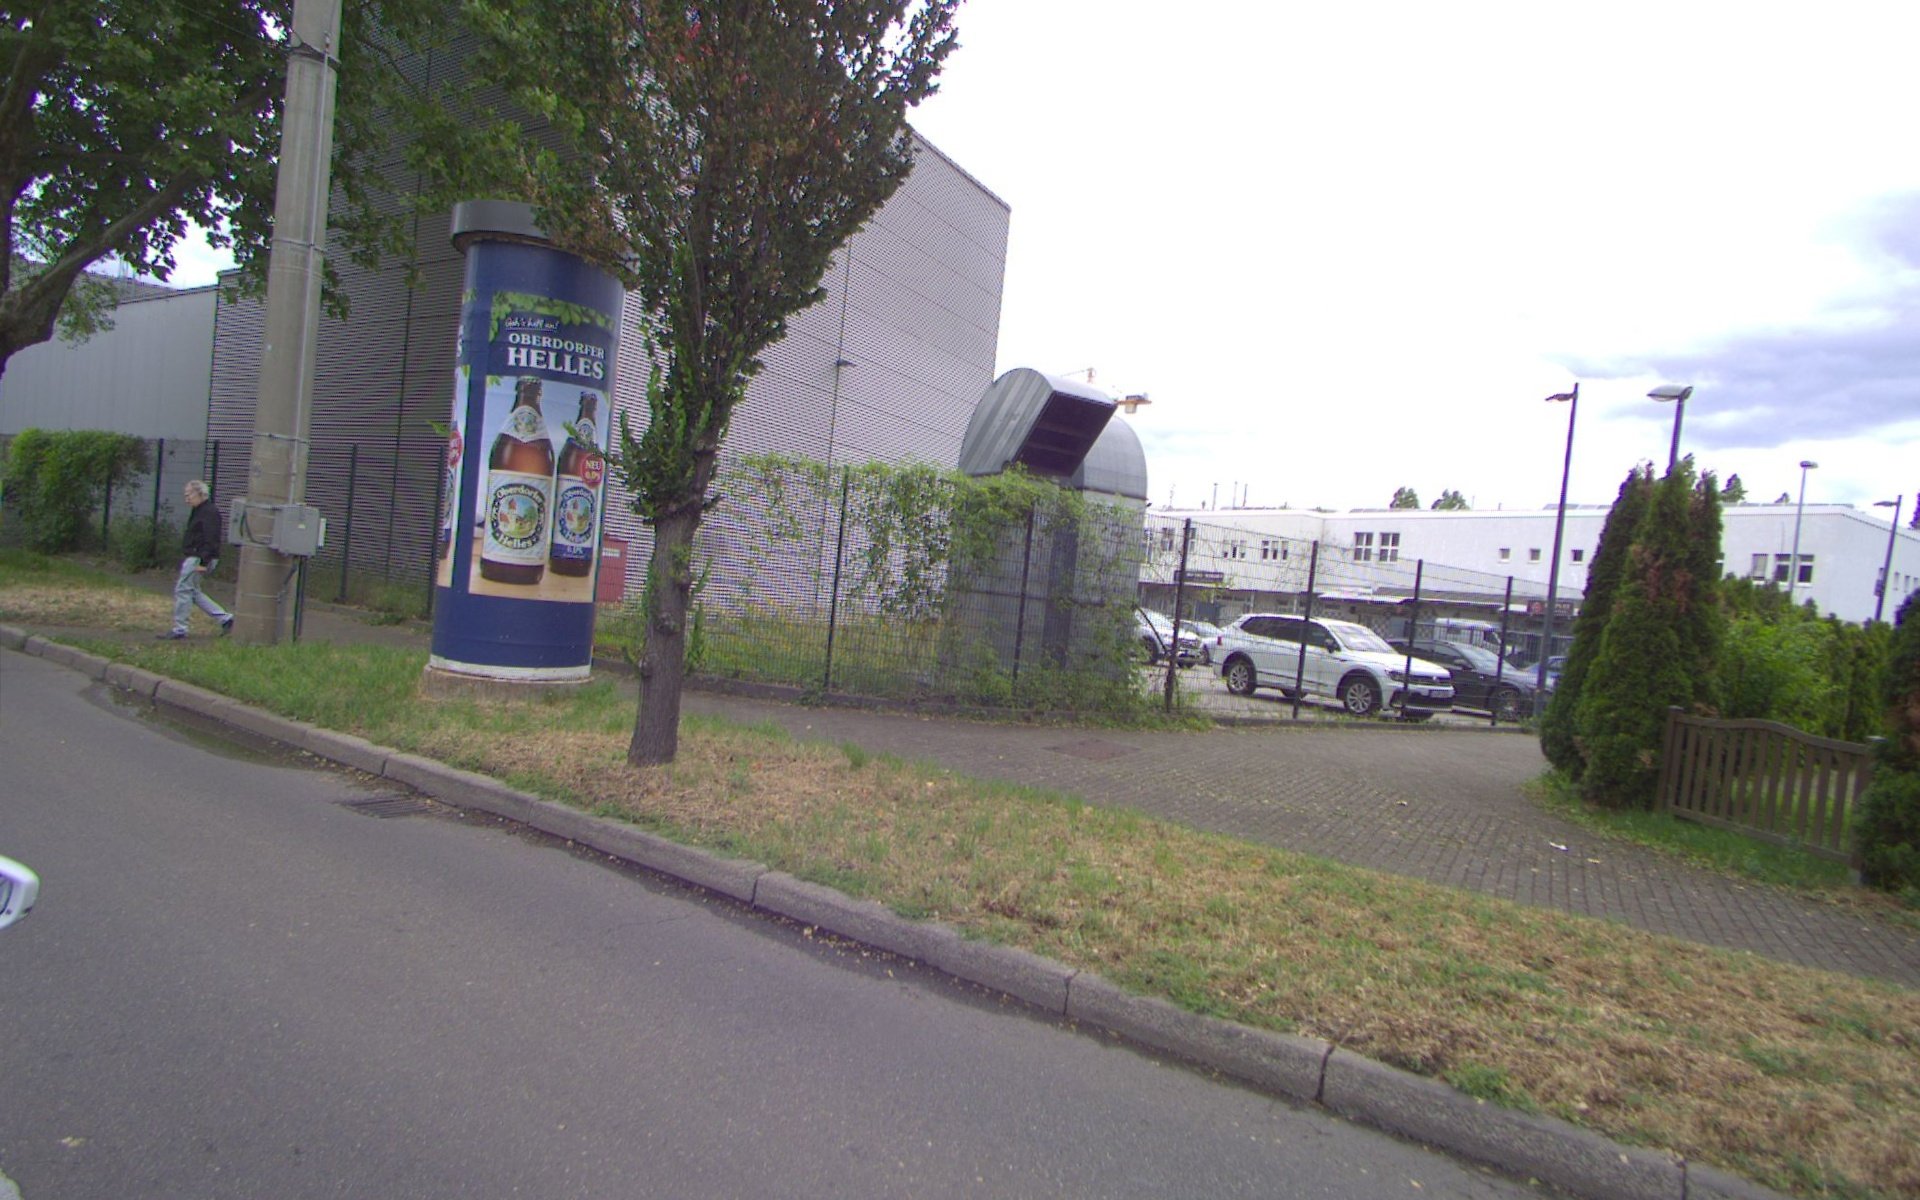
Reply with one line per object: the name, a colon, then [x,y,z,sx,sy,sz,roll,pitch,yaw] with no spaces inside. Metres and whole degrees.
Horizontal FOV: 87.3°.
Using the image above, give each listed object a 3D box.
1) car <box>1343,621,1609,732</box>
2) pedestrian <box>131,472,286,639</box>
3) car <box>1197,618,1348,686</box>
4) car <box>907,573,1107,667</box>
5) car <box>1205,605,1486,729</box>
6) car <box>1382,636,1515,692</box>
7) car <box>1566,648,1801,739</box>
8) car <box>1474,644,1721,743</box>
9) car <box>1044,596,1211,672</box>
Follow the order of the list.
car: [10.614,1.527,21.049,1.979,1.686,4.464,6,1,-31]
pedestrian: [-8.528,-0.503,11.465,0.798,1.785,1.118,2,4,20]
car: [10.030,1.648,32.580,1.982,1.668,4.233,8,-2,-34]
car: [1.122,0.468,24.222,4.197,1.668,1.999,6,-2,29]
car: [6.949,1.163,18.644,1.979,1.686,4.464,6,1,-31]
car: [19.440,2.522,40.208,1.982,1.668,4.233,8,-2,-34]
car: [18.752,2.378,26.308,1.979,1.686,4.464,6,1,-31]
car: [15.083,2.168,24.086,1.979,1.686,4.464,6,1,-31]
car: [4.850,0.959,29.580,4.418,1.687,1.999,6,1,-1]
